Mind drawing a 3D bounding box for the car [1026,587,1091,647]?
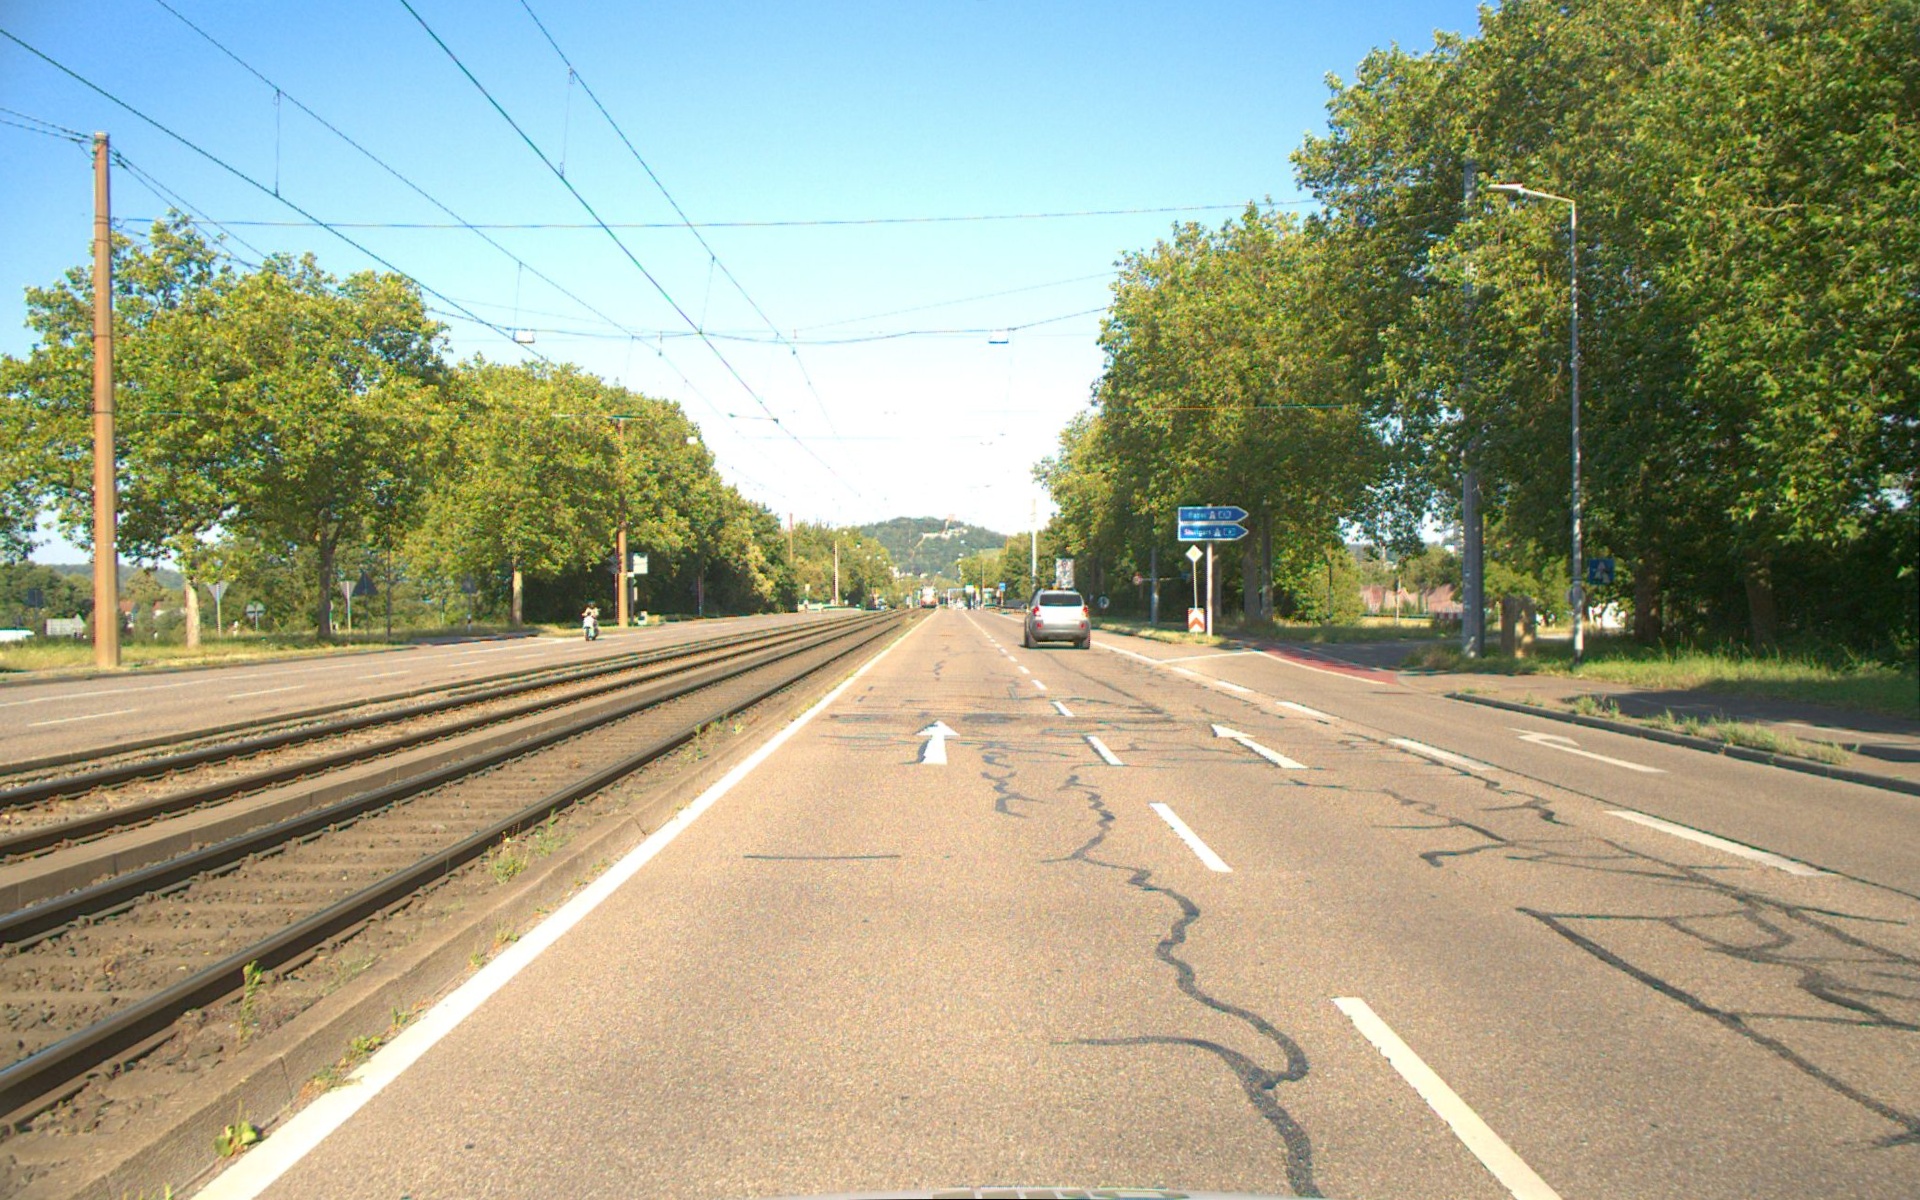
[{"bbox_3d":[2.931,0.482,49.730,1.849,1.723,4.257,0,0,2],"label":"car"}]

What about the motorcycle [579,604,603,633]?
[{"bbox_3d":[-14.534,0.706,65.223,0.525,1.110,1.902,1,0,0],"label":"motorcycle"}]

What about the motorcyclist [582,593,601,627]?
[{"bbox_3d":[-14.528,0.390,65.243,0.525,1.292,0.805,1,0,-1],"label":"motorcyclist"}]
